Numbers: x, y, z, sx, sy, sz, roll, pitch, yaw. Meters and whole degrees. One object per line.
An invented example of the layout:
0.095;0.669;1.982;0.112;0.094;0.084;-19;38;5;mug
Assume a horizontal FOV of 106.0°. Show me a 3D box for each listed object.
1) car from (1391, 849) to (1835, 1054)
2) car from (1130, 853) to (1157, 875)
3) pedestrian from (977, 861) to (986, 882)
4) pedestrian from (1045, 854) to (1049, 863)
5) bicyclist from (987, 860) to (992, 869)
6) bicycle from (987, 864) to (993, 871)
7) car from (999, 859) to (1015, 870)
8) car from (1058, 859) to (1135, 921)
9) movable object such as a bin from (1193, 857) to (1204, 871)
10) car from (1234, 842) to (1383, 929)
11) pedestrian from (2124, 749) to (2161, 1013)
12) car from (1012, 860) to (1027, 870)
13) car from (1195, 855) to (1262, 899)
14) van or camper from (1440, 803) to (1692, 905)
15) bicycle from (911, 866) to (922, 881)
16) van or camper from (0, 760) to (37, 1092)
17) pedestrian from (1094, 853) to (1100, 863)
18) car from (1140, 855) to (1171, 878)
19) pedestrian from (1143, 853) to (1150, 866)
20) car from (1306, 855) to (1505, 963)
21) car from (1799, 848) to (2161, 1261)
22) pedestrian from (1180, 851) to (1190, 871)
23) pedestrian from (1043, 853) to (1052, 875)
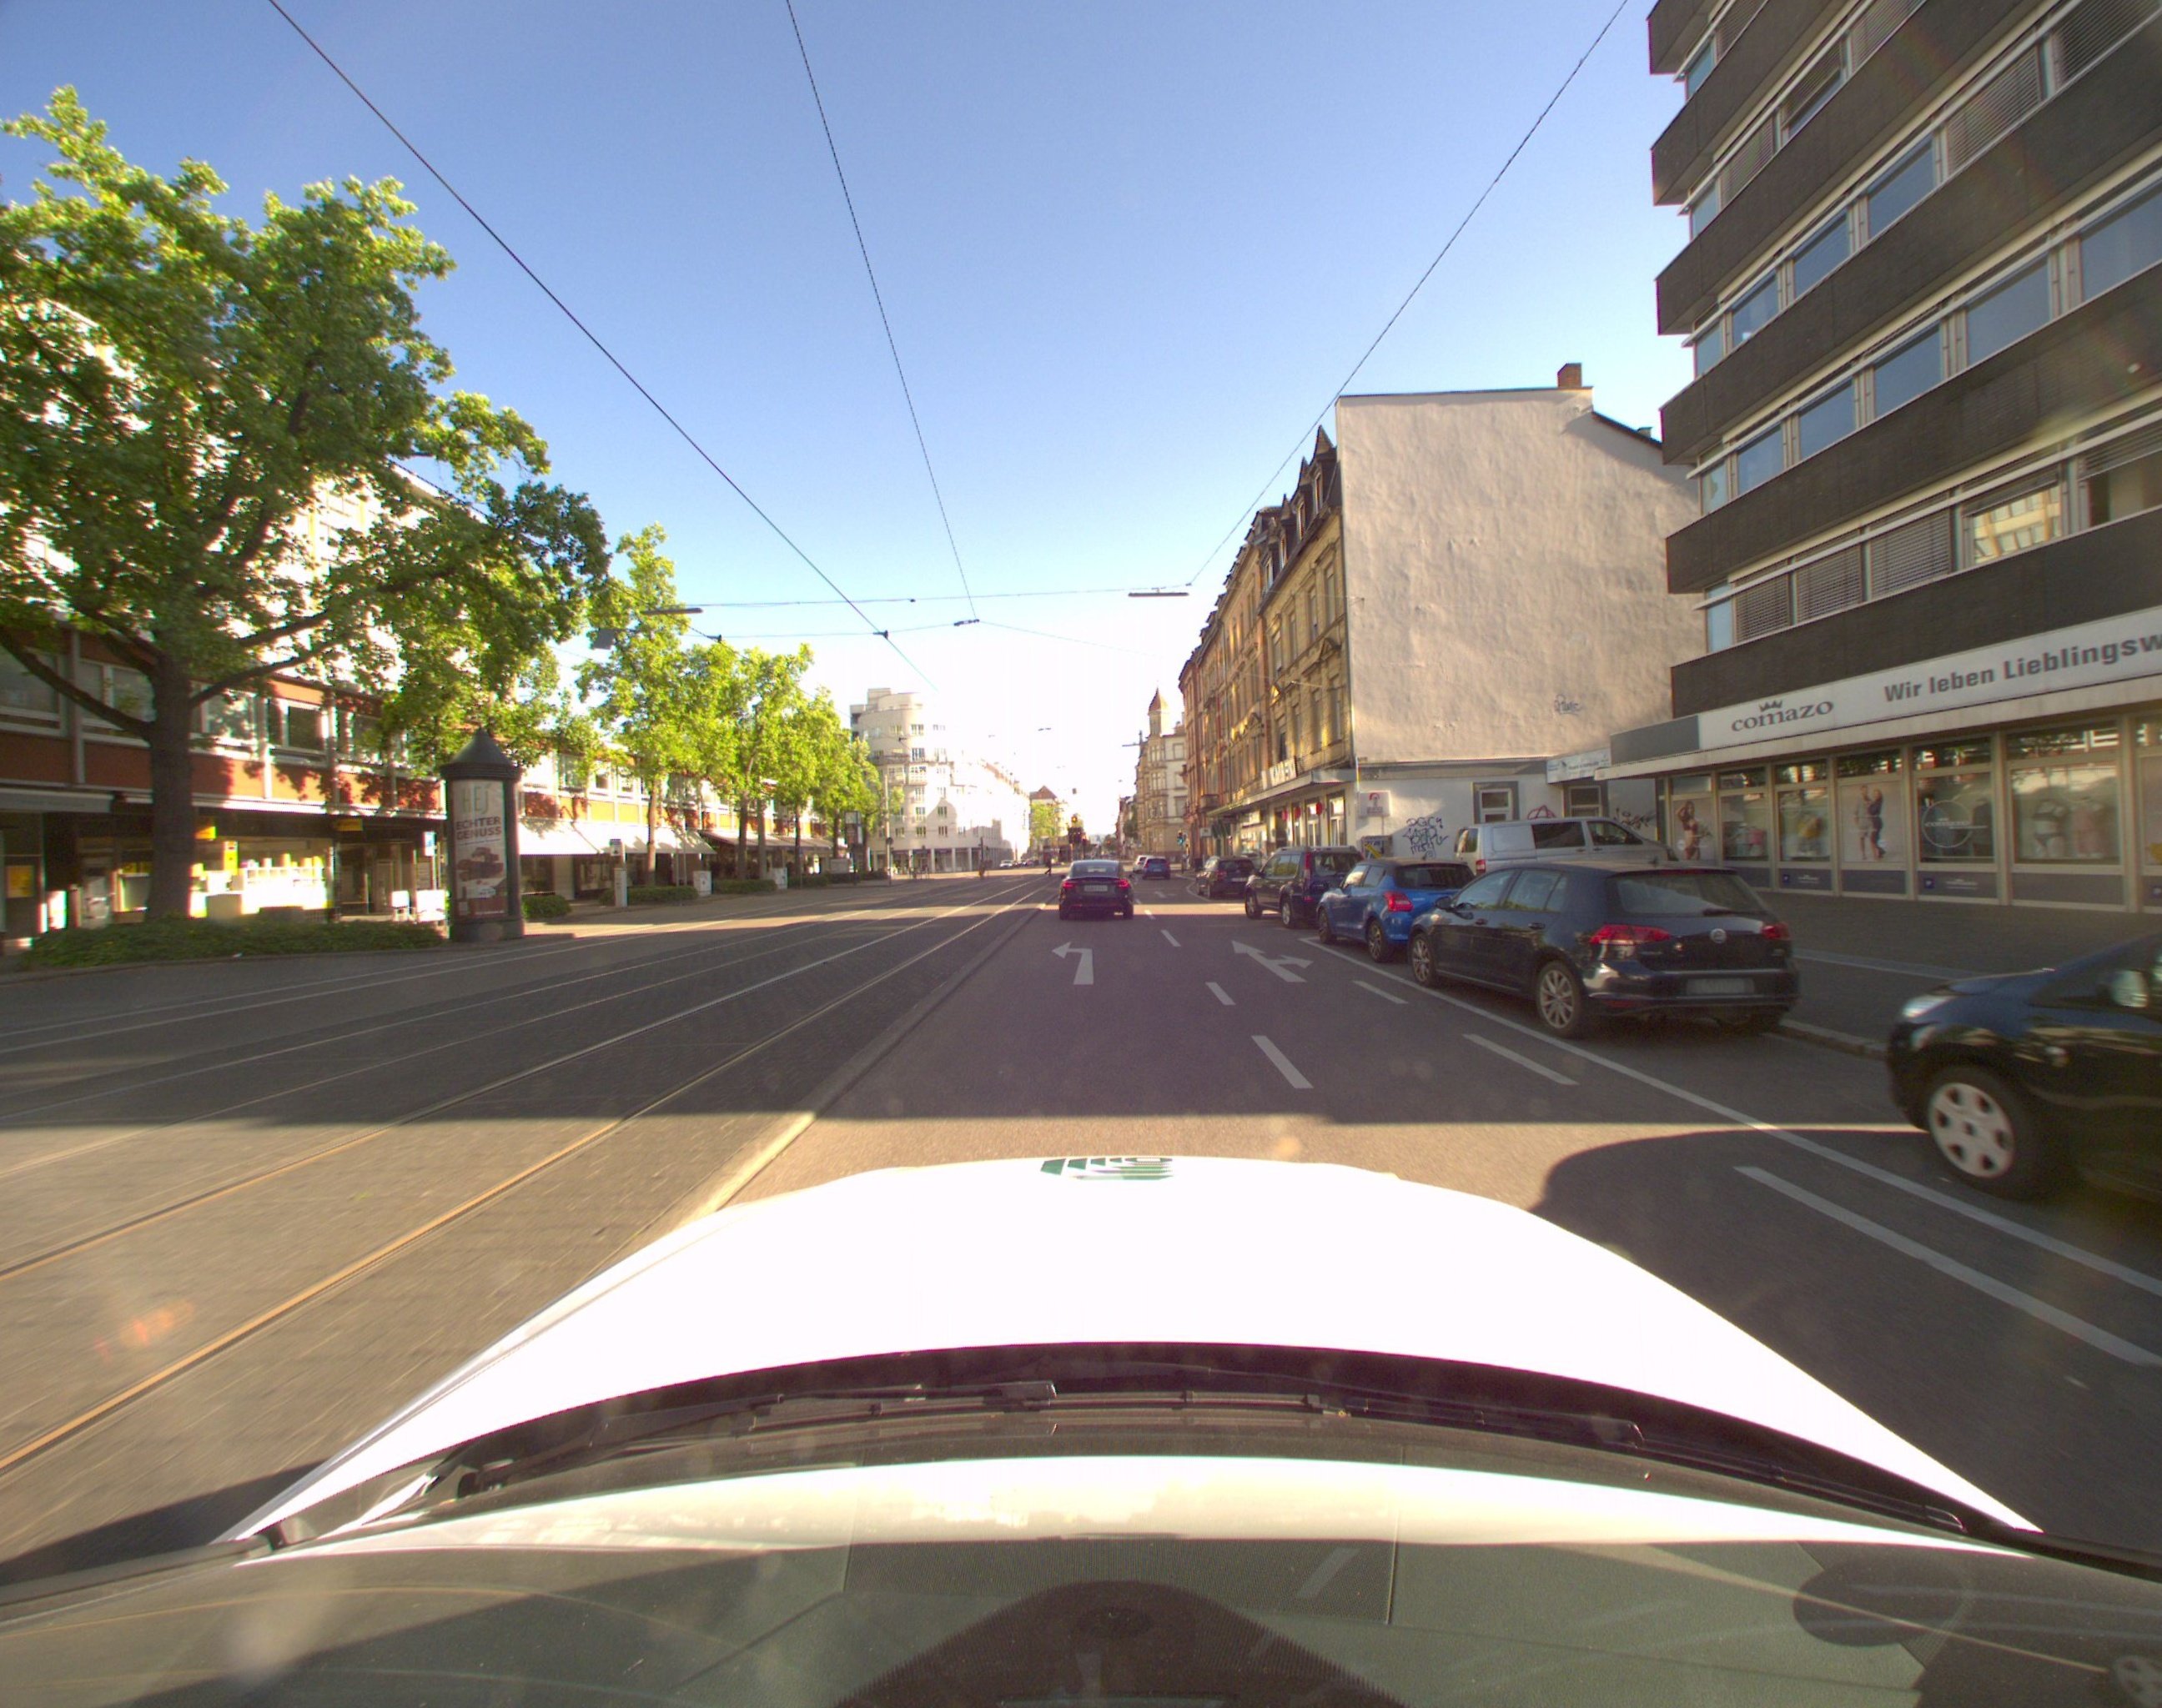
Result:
4.675;0.742;8.048;1.692;1.483;4.227;0;-1;1;car
5.118;0.819;67.028;1.986;1.743;4.001;0;-1;2;car
-7.623;1.325;62.536;0.498;1.518;0.859;-4;0;1;pedestrian
-6.267;0.850;151.566;0.729;1.527;0.743;-2;0;0;pedestrian
-13.671;1.563;121.975;0.586;1.285;0.927;-2;-2;2;bicyclist
-13.660;2.007;122.000;0.591;0.972;1.818;-2;-1;2;bicycle
-11.279;1.615;124.906;1.987;1.451;4.501;-2;0;0;car
0.407;0.861;21.215;1.804;1.424;4.154;0;0;1;car
9.102;0.760;63.043;0.660;1.072;0.591;-5;-1;3;movable object such as a bin
4.933;0.639;18.357;1.688;1.713;4.606;0;-1;-6;car
8.141;0.185;5.541;0.681;1.912;1.064;0;-2;4;pedestrian
-11.622;2.069;154.297;2.219;1.911;4.609;-2;-1;1;car
5.162;0.758;28.999;1.684;1.451;4.360;0;0;1;car
11.396;0.014;19.436;4.670;1.933;2.003;-5;-1;5;van or camper
-14.152;1.646;70.047;0.496;1.186;2.235;-2;0;0;bicycle
-9.918;0.622;3.392;2.030;2.739;7.017;-3;0;-1;van or camper
2.899;0.652;149.017;0.710;1.777;0.569;-3;-1;37;pedestrian
4.745;0.784;52.073;1.774;1.451;3.655;0;0;2;car
9.146;0.748;114.169;0.777;1.749;1.093;-2;1;-1;pedestrian
4.926;0.759;12.941;1.707;1.454;3.779;0;-1;1;car
4.647;0.710;2.623;1.565;1.483;3.558;0;-1;1;car
8.704;0.577;68.123;0.680;1.607;0.729;-2;-1;-8;pedestrian
-2.677;0.781;65.114;0.556;1.763;0.895;-4;0;1;pedestrian
